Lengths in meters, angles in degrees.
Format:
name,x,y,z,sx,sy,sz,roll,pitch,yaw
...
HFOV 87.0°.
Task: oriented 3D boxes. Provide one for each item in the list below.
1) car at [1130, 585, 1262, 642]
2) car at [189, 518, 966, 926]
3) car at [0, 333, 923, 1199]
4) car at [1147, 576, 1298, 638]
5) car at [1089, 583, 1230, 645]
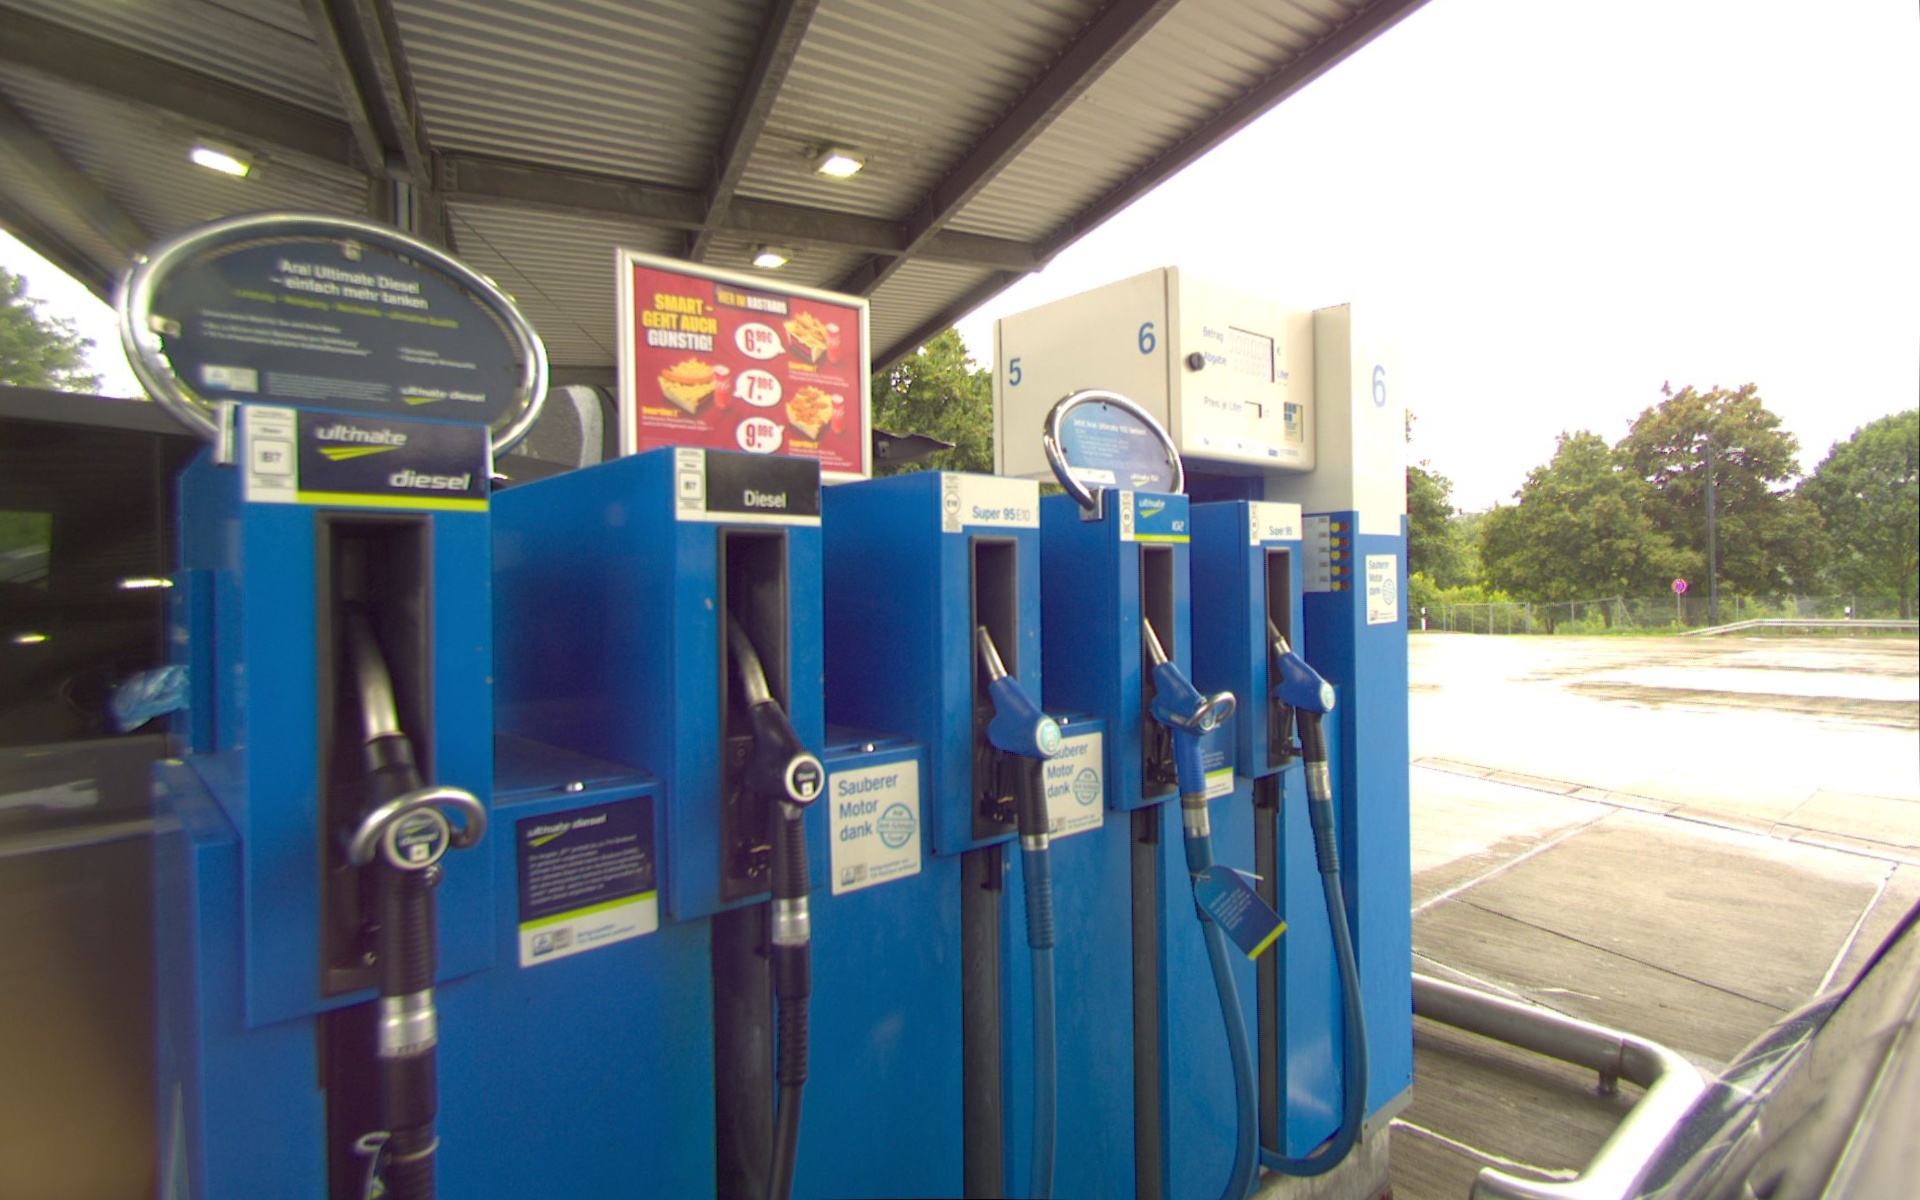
name,x,y,z,sx,sy,sz,roll,pitch,yaw
car,7.418,0.388,31.911,3.941,1.680,1.593,1,0,14
car,-2.245,0.519,6.695,4.460,1.821,1.864,-1,0,-41
car,-2.610,0.502,1.809,5.050,1.821,1.864,-1,0,-41
car,8.880,0.210,34.494,4.817,1.974,2.306,1,1,14
car,5.864,0.377,29.721,3.941,1.680,1.593,1,0,14
